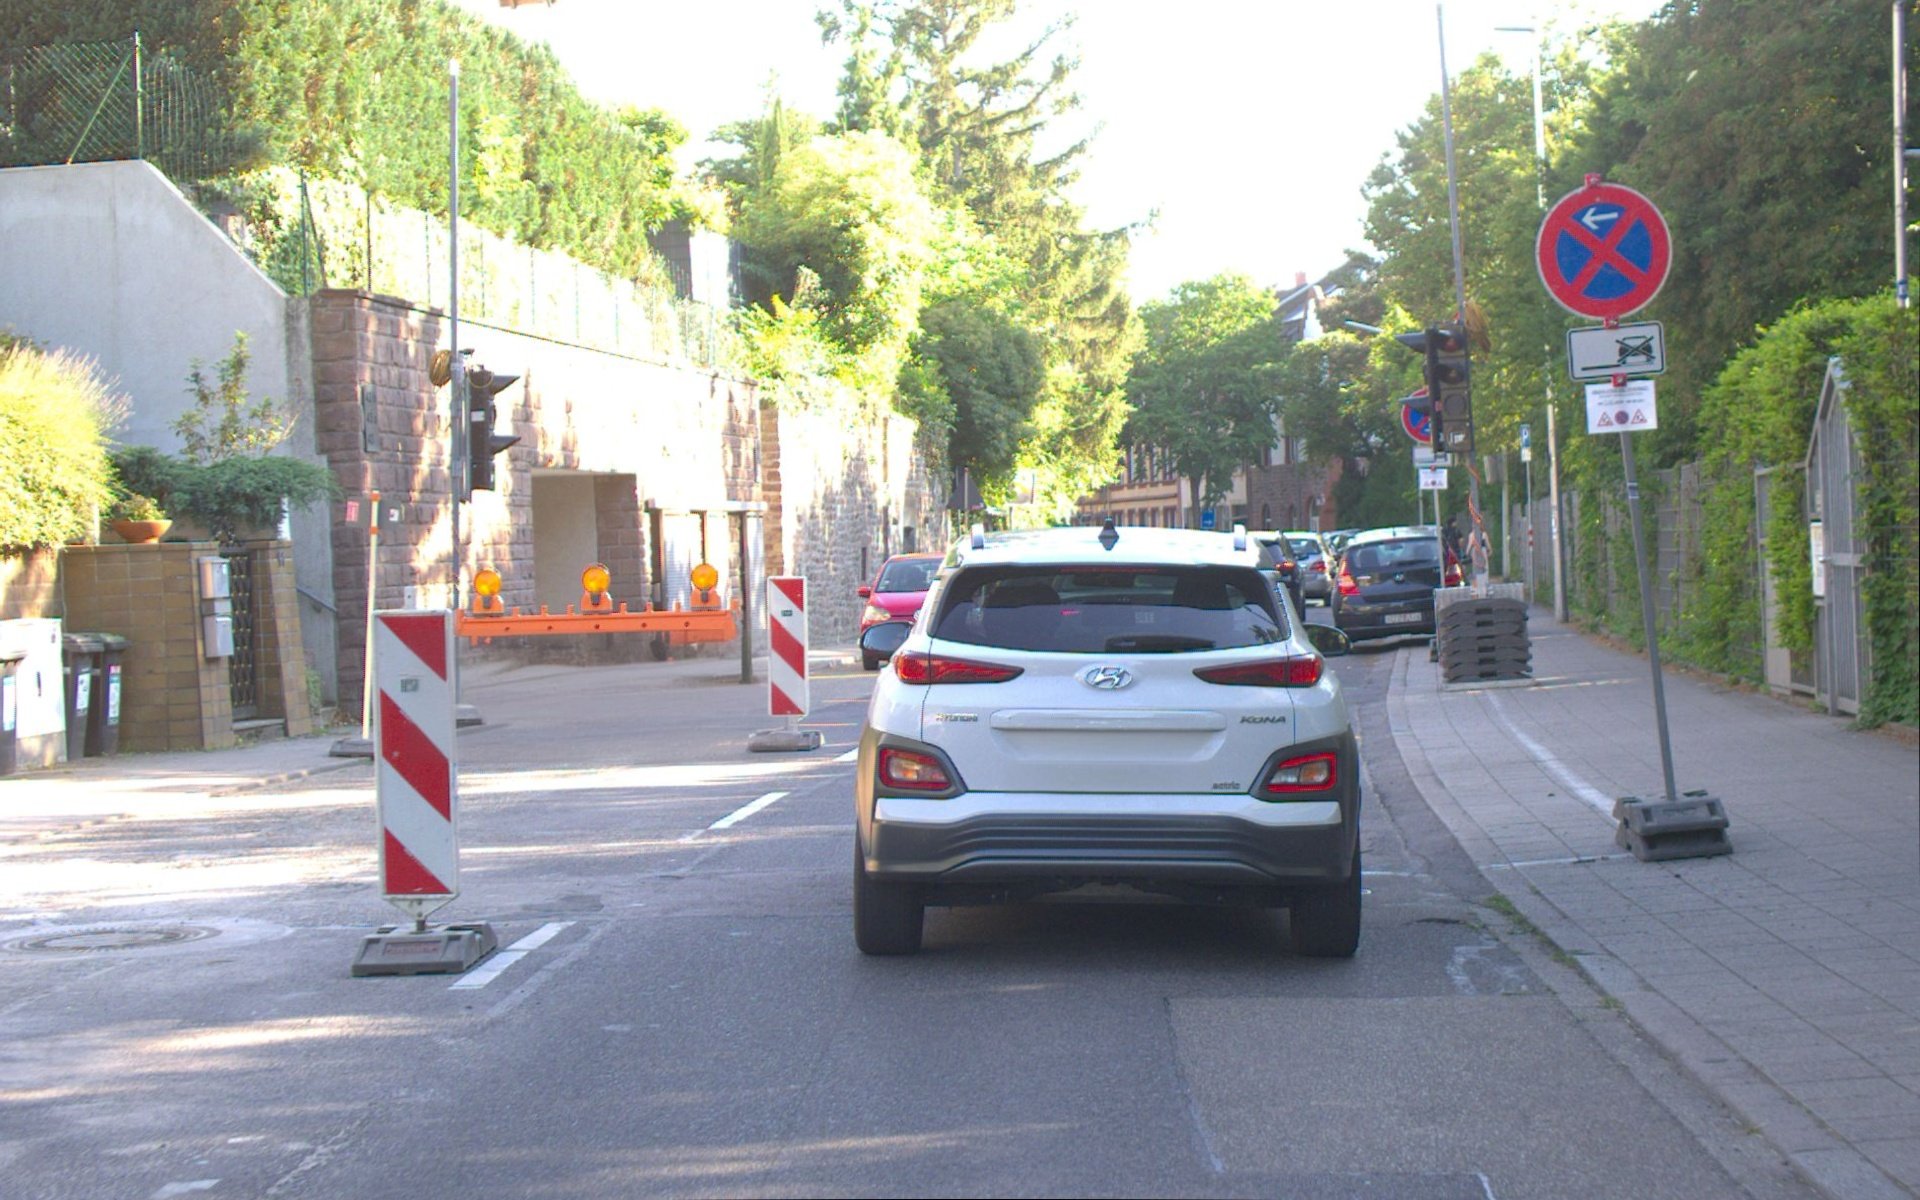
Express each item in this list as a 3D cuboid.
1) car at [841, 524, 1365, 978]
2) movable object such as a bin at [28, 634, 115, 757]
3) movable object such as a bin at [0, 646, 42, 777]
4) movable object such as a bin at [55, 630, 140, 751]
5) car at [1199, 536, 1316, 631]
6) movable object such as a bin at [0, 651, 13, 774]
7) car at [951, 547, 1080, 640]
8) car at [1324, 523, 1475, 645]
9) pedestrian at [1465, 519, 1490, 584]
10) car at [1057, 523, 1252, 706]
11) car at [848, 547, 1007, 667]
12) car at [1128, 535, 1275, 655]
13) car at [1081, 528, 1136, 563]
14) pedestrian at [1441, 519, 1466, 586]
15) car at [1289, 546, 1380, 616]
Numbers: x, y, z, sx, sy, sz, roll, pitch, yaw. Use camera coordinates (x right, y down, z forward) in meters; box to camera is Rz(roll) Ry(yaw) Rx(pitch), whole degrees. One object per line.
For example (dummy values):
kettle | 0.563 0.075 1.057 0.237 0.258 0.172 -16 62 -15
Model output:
car | 0.576 0.475 13.658 1.772 1.537 4.000 0 1 3
movable object such as a bin | -6.558 0.700 25.393 0.456 0.881 0.500 -1 1 6
movable object such as a bin | -6.692 0.769 23.843 0.456 0.881 0.500 -1 1 6
movable object such as a bin | -6.499 0.679 25.915 0.456 0.881 0.500 -1 1 6
car | 5.071 -0.294 58.217 1.694 1.528 3.880 1 1 9
movable object such as a bin | -6.747 0.773 23.376 0.454 0.831 0.392 -2 1 6
car | 0.948 -0.132 56.471 1.649 1.406 3.930 -3 1 7
car | 5.665 -0.231 44.330 1.795 1.436 3.999 -2 1 7
pedestrian | 12.640 -1.190 83.972 0.503 1.564 0.503 -4 0 8
car | 1.837 0.091 31.566 1.512 1.528 3.547 -2 1 7
car | -0.380 0.056 44.450 1.627 1.417 3.562 -3 1 6
car | 3.164 -0.092 44.586 1.571 1.472 3.546 -1 1 9
car | 6.904 -2.551 160.200 1.755 1.611 4.001 -1 1 -10
pedestrian | 12.064 -1.168 84.062 0.503 1.601 0.491 -4 0 8
car | 8.130 -0.435 74.395 1.694 1.442 3.880 1 1 10
